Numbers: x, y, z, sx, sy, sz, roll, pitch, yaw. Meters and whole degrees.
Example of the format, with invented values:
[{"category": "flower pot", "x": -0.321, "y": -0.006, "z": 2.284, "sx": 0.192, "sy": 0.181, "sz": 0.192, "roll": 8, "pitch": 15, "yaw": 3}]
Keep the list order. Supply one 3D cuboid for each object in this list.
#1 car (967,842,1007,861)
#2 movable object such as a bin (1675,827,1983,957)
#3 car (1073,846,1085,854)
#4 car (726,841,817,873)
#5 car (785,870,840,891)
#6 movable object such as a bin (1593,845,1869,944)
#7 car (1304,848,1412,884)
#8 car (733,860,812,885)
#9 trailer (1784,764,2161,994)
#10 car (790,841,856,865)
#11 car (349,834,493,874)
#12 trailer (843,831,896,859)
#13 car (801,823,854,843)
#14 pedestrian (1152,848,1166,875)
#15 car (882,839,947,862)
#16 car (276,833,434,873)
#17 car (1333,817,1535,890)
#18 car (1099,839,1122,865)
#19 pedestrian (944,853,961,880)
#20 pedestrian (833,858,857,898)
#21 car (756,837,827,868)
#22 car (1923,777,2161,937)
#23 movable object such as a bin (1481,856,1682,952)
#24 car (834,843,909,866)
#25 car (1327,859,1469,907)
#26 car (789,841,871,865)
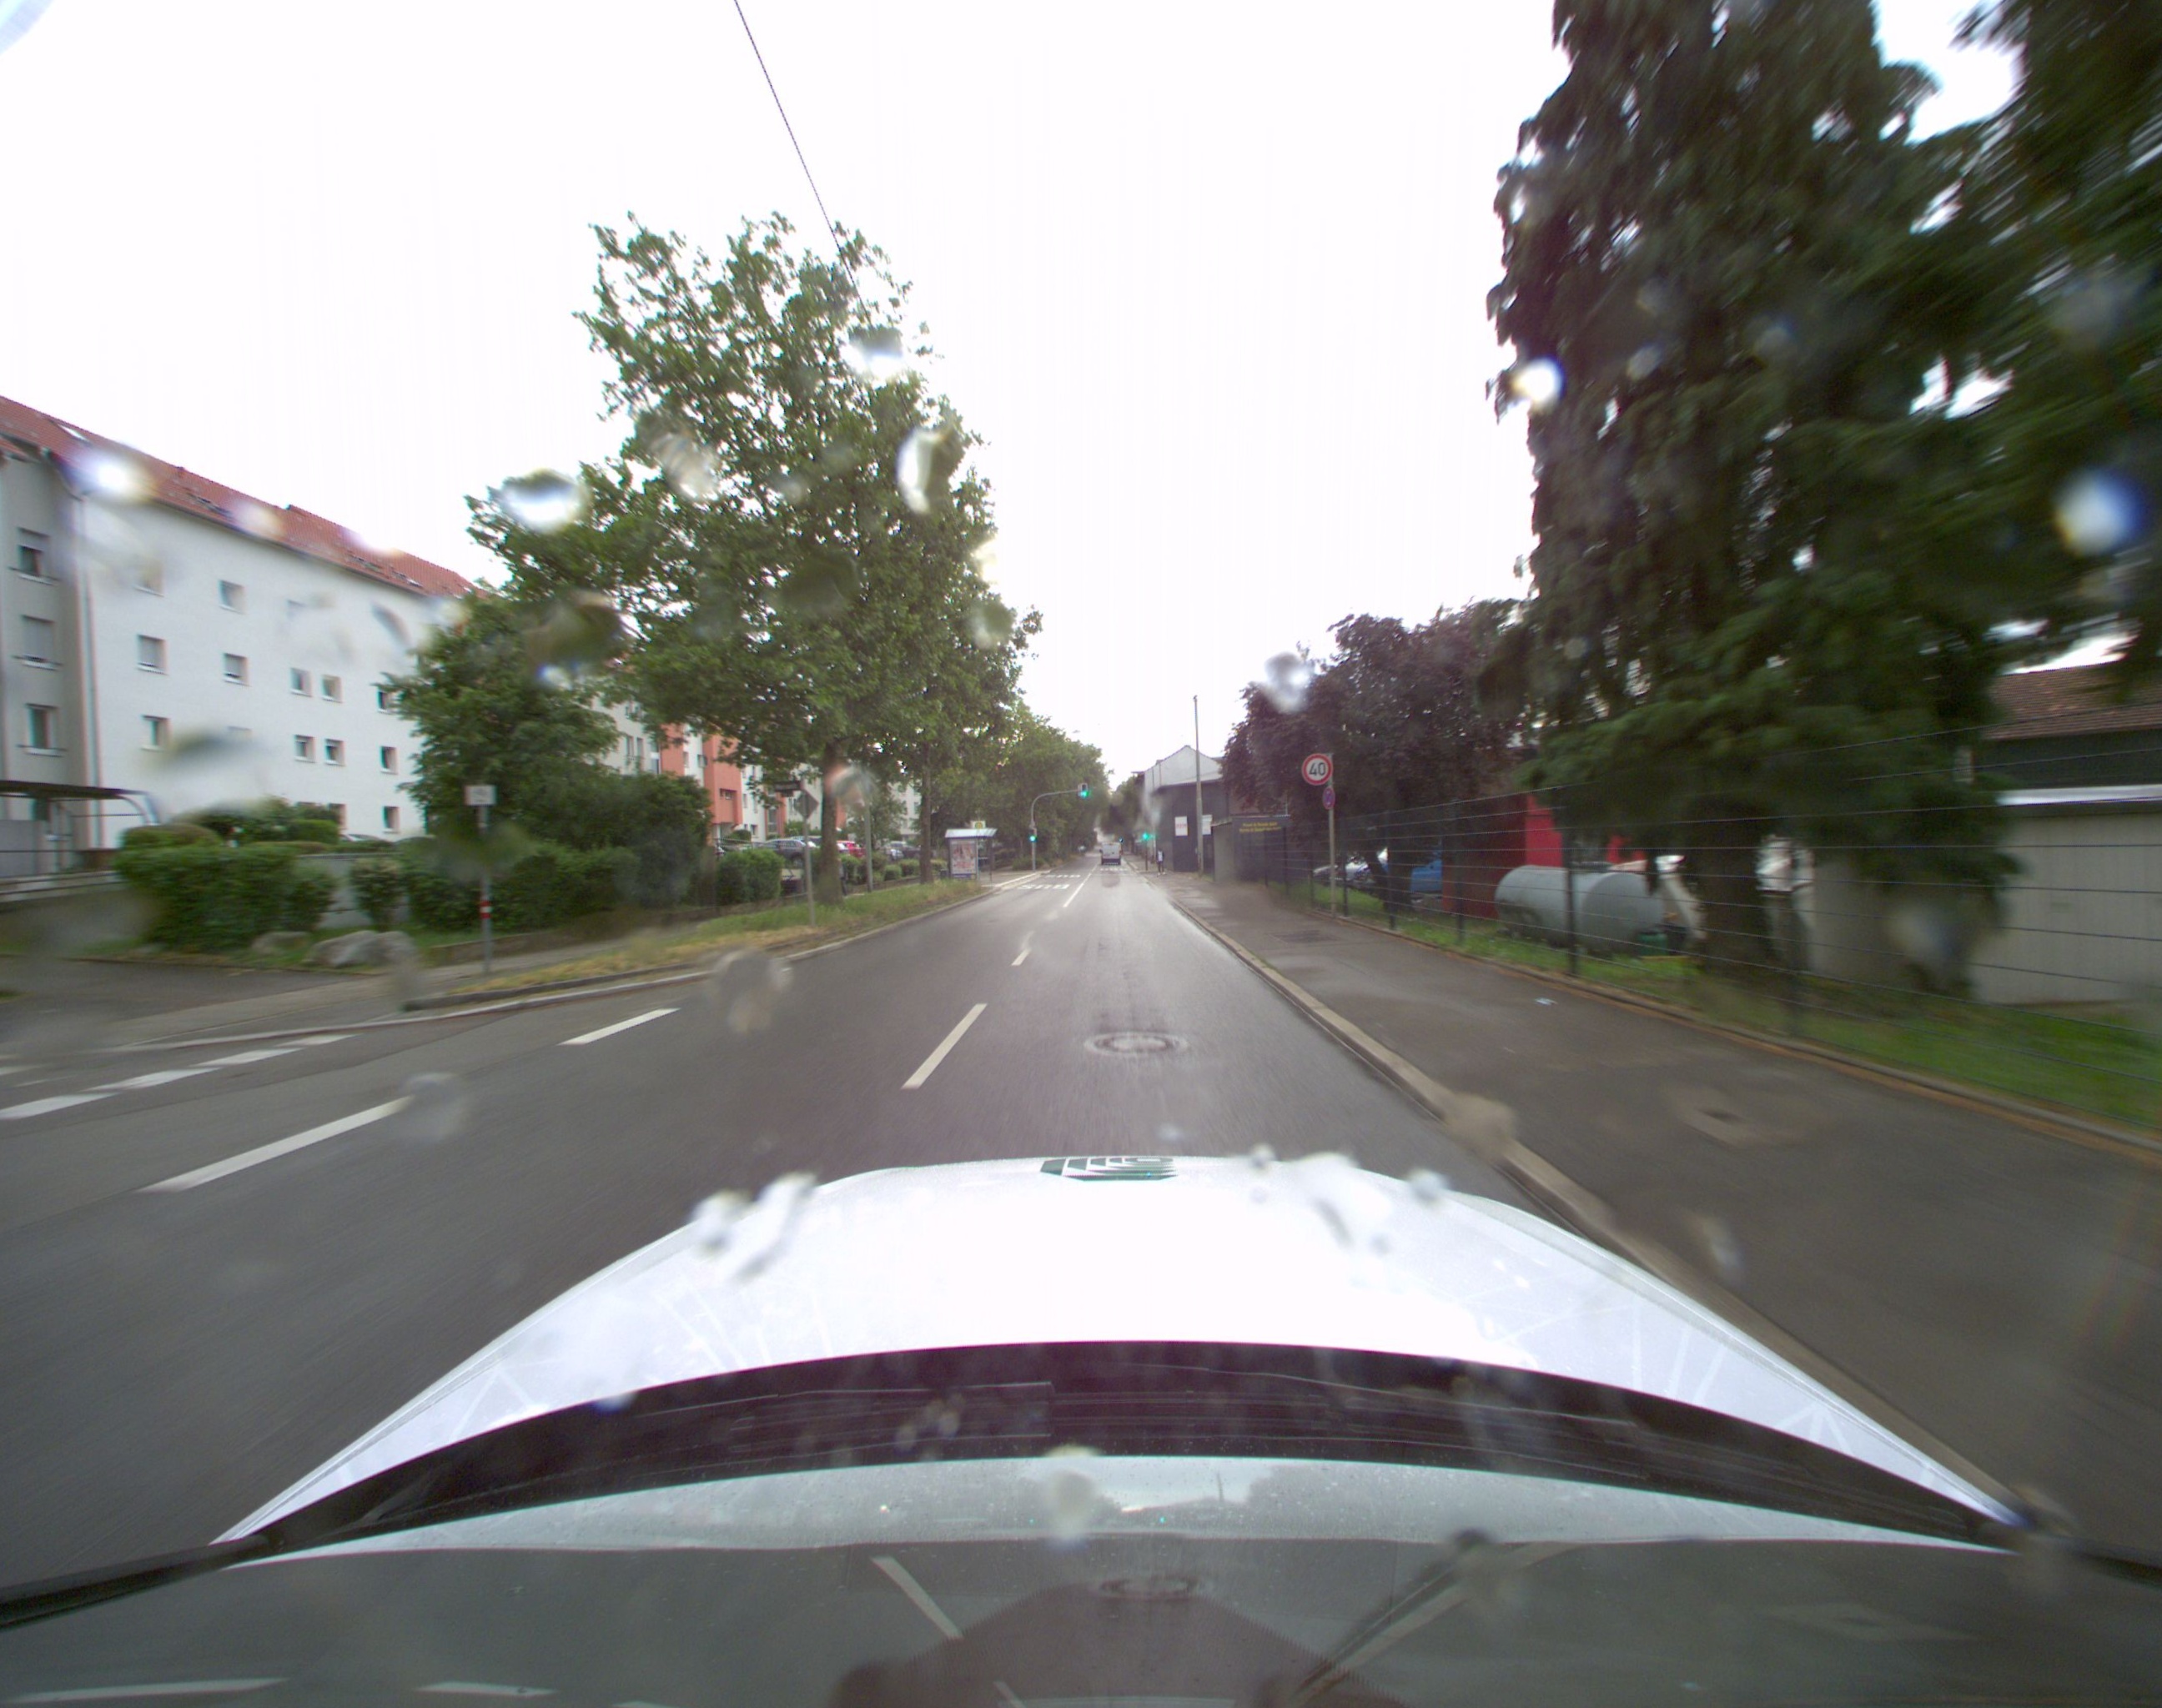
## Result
[{"category": "car", "x": -10.310, "y": -0.301, "z": 89.743, "sx": 4.155, "sy": 2.013, "sz": 1.718, "roll": 0, "pitch": 0, "yaw": -1}, {"category": "movable object such as a bin", "x": 10.694, "y": 0.496, "z": 11.842, "sx": 2.609, "sy": 1.716, "sz": 2.083, "roll": 0, "pitch": 0, "yaw": -1}, {"category": "car", "x": -0.454, "y": -0.776, "z": 171.136, "sx": 2.205, "sy": 1.592, "sz": 4.614, "roll": 0, "pitch": -1, "yaw": 4}, {"category": "car", "x": -14.863, "y": 0.166, "z": 39.291, "sx": 3.643, "sy": 1.498, "sz": 1.896, "roll": 0, "pitch": -1, "yaw": -2}, {"category": "car", "x": -21.269, "y": 2.090, "z": 64.603, "sx": 3.798, "sy": 1.511, "sz": 1.718, "roll": -1, "pitch": -1, "yaw": 0}, {"category": "movable object such as a bin", "x": 11.073, "y": 0.643, "z": 14.057, "sx": 3.321, "sy": 1.577, "sz": 1.891, "roll": 0, "pitch": 0, "yaw": -2}, {"category": "car", "x": 11.597, "y": 0.514, "z": 34.320, "sx": 3.971, "sy": 1.423, "sz": 1.786, "roll": 0, "pitch": -1, "yaw": 2}, {"category": "car", "x": -17.957, "y": 1.092, "z": 47.547, "sx": 3.954, "sy": 1.404, "sz": 1.590, "roll": 0, "pitch": -1, "yaw": 1}, {"category": "trailer", "x": 11.181, "y": 0.250, "z": 8.784, "sx": 5.402, "sy": 2.187, "sz": 2.046, "roll": 0, "pitch": -1, "yaw": 0}, {"category": "car", "x": -14.057, "y": -0.065, "z": 44.427, "sx": 3.118, "sy": 1.270, "sz": 1.437, "roll": 0, "pitch": -1, "yaw": 1}, {"category": "car", "x": -24.740, "y": 0.023, "z": 30.615, "sx": 3.969, "sy": 1.415, "sz": 1.850, "roll": 0, "pitch": -1, "yaw": 4}, {"category": "trailer", "x": -12.611, "y": -0.519, "z": 48.651, "sx": 2.693, "sy": 1.645, "sz": 1.481, "roll": 0, "pitch": -1, "yaw": 2}, {"category": "car", "x": -20.953, "y": -1.726, "z": 67.346, "sx": 3.798, "sy": 1.602, "sz": 1.718, "roll": 0, "pitch": -1, "yaw": 0}, {"category": "pedestrian", "x": 4.889, "y": 0.485, "z": 51.378, "sx": 0.741, "sy": 1.704, "sz": 0.900, "roll": 0, "pitch": -1, "yaw": -4}, {"category": "car", "x": -12.767, "y": -0.263, "z": 62.656, "sx": 4.529, "sy": 1.672, "sz": 2.000, "roll": 0, "pitch": -1, "yaw": 0}, {"category": "car", "x": -25.105, "y": -0.027, "z": 28.245, "sx": 3.969, "sy": 1.318, "sz": 1.746, "roll": 0, "pitch": -1, "yaw": 4}, {"category": "car", "x": 11.080, "y": -0.021, "z": 25.849, "sx": 5.549, "sy": 2.211, "sz": 2.000, "roll": 0, "pitch": 0, "yaw": 0}, {"category": "car", "x": 3.115, "y": -0.164, "z": 84.502, "sx": 2.274, "sy": 2.553, "sz": 4.002, "roll": -1, "pitch": -1, "yaw": 2}, {"category": "pedestrian", "x": -7.857, "y": 0.759, "z": 49.902, "sx": 0.738, "sy": 1.598, "sz": 0.607, "roll": -5, "pitch": -2, "yaw": 5}, {"category": "pedestrian", "x": -9.700, "y": 0.977, "z": 33.460, "sx": 0.753, "sy": 1.611, "sz": 0.834, "roll": 0, "pitch": -1, "yaw": -3}, {"category": "car", "x": -14.917, "y": -0.072, "z": 42.001, "sx": 3.118, "sy": 1.543, "sz": 1.437, "roll": 0, "pitch": -1, "yaw": 1}, {"category": "car", "x": 16.782, "y": 0.002, "z": 12.848, "sx": 4.804, "sy": 2.270, "sz": 2.000, "roll": -2, "pitch": -1, "yaw": 0}, {"category": "movable object such as a bin", "x": 7.791, "y": 0.714, "z": 12.956, "sx": 1.367, "sy": 1.320, "sz": 2.857, "roll": 0, "pitch": 0, "yaw": -3}, {"category": "car", "x": -13.621, "y": 0.046, "z": 53.149, "sx": 4.339, "sy": 1.424, "sz": 1.860, "roll": 0, "pitch": -1, "yaw": 1}, {"category": "car", "x": 11.260, "y": 1.020, "z": 29.125, "sx": 4.365, "sy": 1.531, "sz": 1.793, "roll": -2, "pitch": -1, "yaw": -1}, {"category": "car", "x": -14.245, "y": -0.022, "z": 46.454, "sx": 4.073, "sy": 1.303, "sz": 1.810, "roll": 0, "pitch": -1, "yaw": 1}]
